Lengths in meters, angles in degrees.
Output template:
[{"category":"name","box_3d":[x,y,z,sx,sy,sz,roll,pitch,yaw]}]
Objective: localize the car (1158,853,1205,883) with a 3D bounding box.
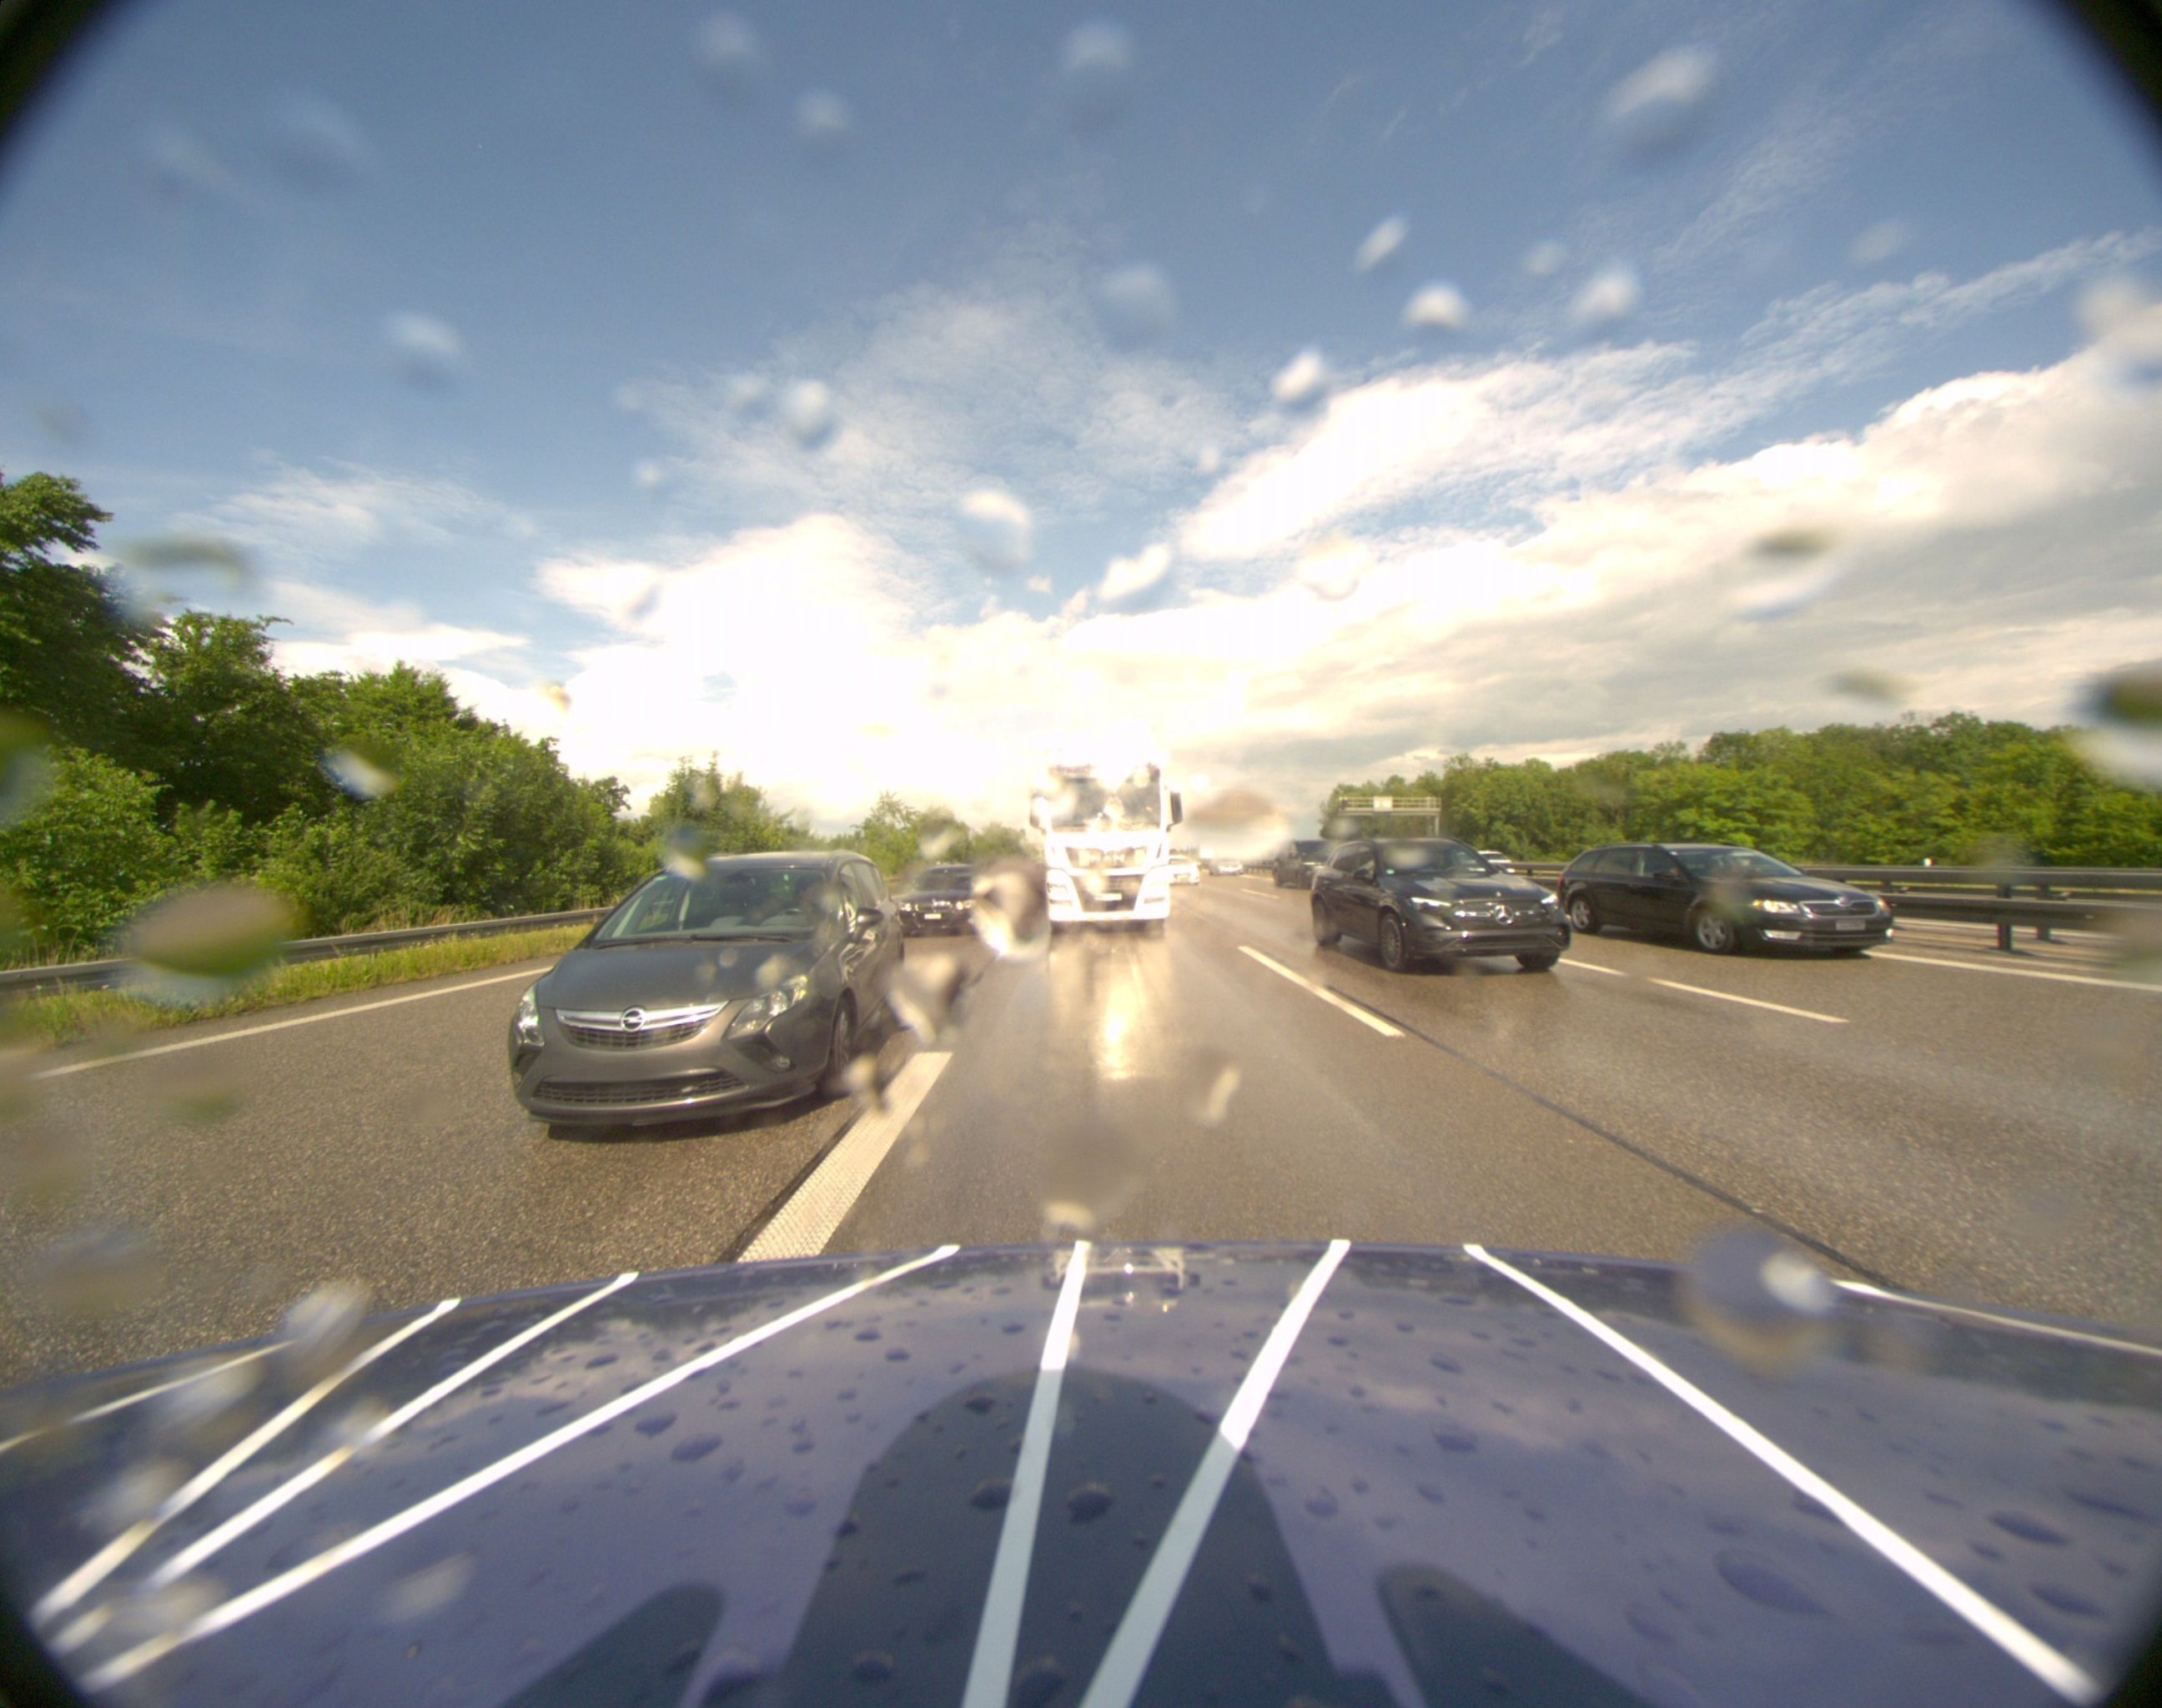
[{"category":"car","box_3d":[4.953,0.667,37.950,1.809,1.389,4.240,-1,0,1]}]

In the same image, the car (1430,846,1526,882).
[{"category":"car","box_3d":[16.883,0.404,32.552,1.867,1.383,3.999,-2,1,-2]}]

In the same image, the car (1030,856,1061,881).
[{"category":"car","box_3d":[-2.244,0.905,49.028,1.858,1.433,3.999,-2,0,-1]}]

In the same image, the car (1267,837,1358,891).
[{"category":"car","box_3d":[9.087,0.356,30.327,1.998,1.906,5.235,-2,0,0]}]

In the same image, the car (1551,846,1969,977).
[{"category":"car","box_3d":[8.981,0.633,10.712,1.925,1.416,4.371,-2,0,-1]}]

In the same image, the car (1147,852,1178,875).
[{"category":"car","box_3d":[5.411,0.606,50.751,1.597,1.390,4.000,-2,0,0]}]

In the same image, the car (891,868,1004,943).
[{"category":"car","box_3d":[-2.785,1.032,16.689,1.722,1.346,3.884,-2,0,1]}]

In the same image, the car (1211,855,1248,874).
[{"category":"car","box_3d":[9.866,0.674,50.775,1.857,1.182,3.583,-2,0,2]}]

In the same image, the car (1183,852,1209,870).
[{"category":"car","box_3d":[10.114,0.595,66.991,1.618,1.412,4.000,-2,0,1]}]

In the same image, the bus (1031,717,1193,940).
[{"category":"bus","box_3d":[0.645,-0.481,19.252,2.904,4.104,9.845,-2,0,1]}]

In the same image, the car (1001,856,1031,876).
[{"category":"car","box_3d":[-4.967,0.903,58.551,1.771,1.343,4.580,-2,0,1]}]

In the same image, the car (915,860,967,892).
[{"category":"car","box_3d":[-6.877,1.042,37.633,1.747,1.422,4.404,-2,0,-1]}]

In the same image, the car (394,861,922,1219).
[{"category":"car","box_3d":[-2.531,0.914,6.080,1.859,1.622,4.733,-2,0,-5]}]

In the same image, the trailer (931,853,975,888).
[{"category":"trailer","box_3d":[-6.981,0.866,41.811,1.810,1.736,3.966,-3,0,-2]}]

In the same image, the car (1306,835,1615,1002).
[{"category":"car","box_3d":[4.596,0.657,10.145,1.881,1.669,4.626,-2,0,2]}]

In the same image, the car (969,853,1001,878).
[{"category":"car","box_3d":[-6.199,0.738,49.449,1.616,1.480,3.480,-2,0,-1]}]

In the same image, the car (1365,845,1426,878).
[{"category":"car","box_3d":[20.537,0.450,49.832,1.856,2.002,5.077,-2,1,0]}]

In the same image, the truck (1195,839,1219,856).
[{"category":"truck","box_3d":[23.343,-1.126,141.110,2.923,2.969,8.721,-2,1,0]}]

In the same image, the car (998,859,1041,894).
[{"category":"car","box_3d":[-2.717,0.968,34.197,1.744,1.357,3.999,-2,0,-3]}]
